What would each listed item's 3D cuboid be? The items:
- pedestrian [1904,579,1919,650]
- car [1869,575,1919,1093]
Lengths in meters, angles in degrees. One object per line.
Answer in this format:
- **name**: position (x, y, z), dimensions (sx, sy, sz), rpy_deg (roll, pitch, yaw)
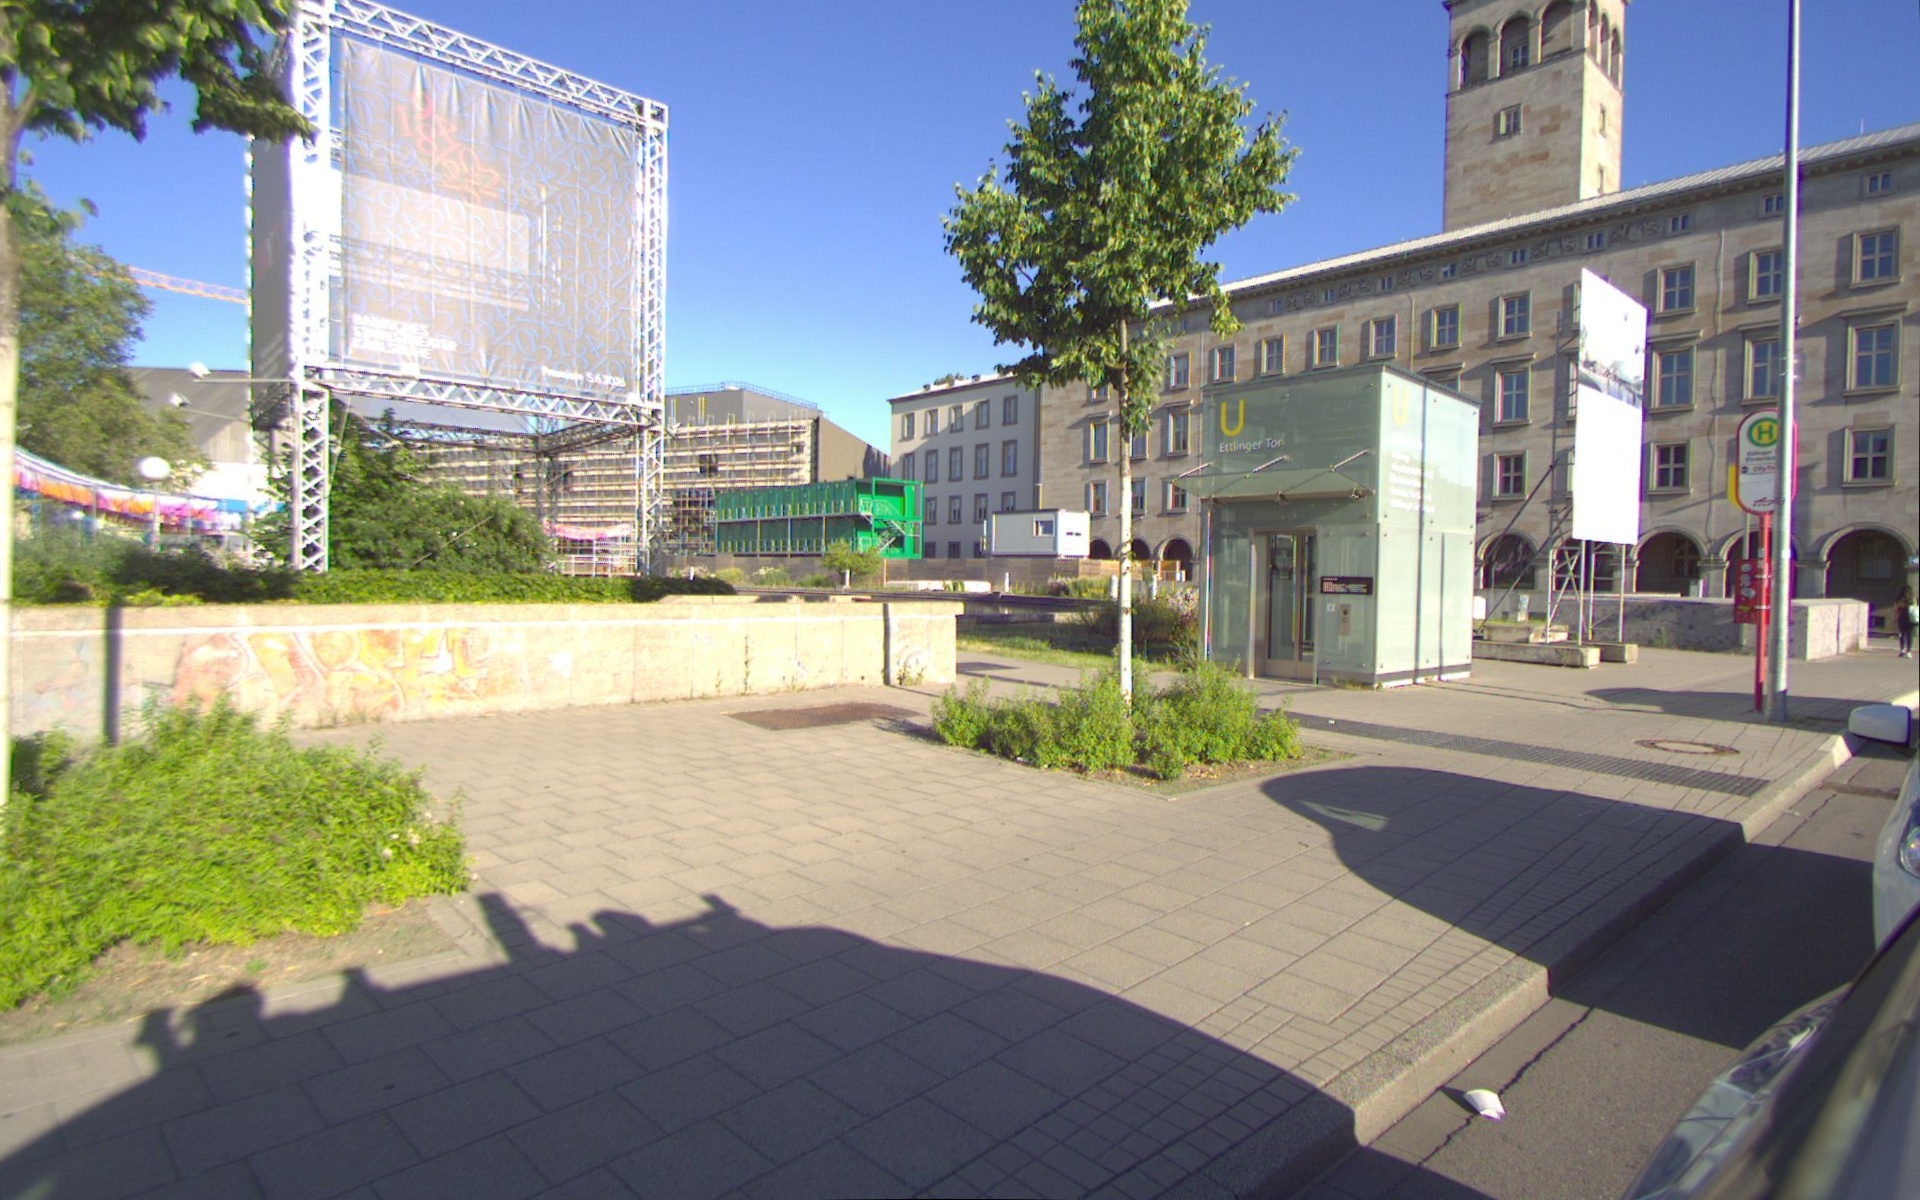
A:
- **pedestrian**: position (23.604, 0.344, 24.839), dimensions (0.543, 1.723, 0.551), rpy_deg (0, 1, -42)
- **car**: position (4.643, 0.681, 3.660), dimensions (3.930, 1.473, 1.518), rpy_deg (0, 2, -41)
